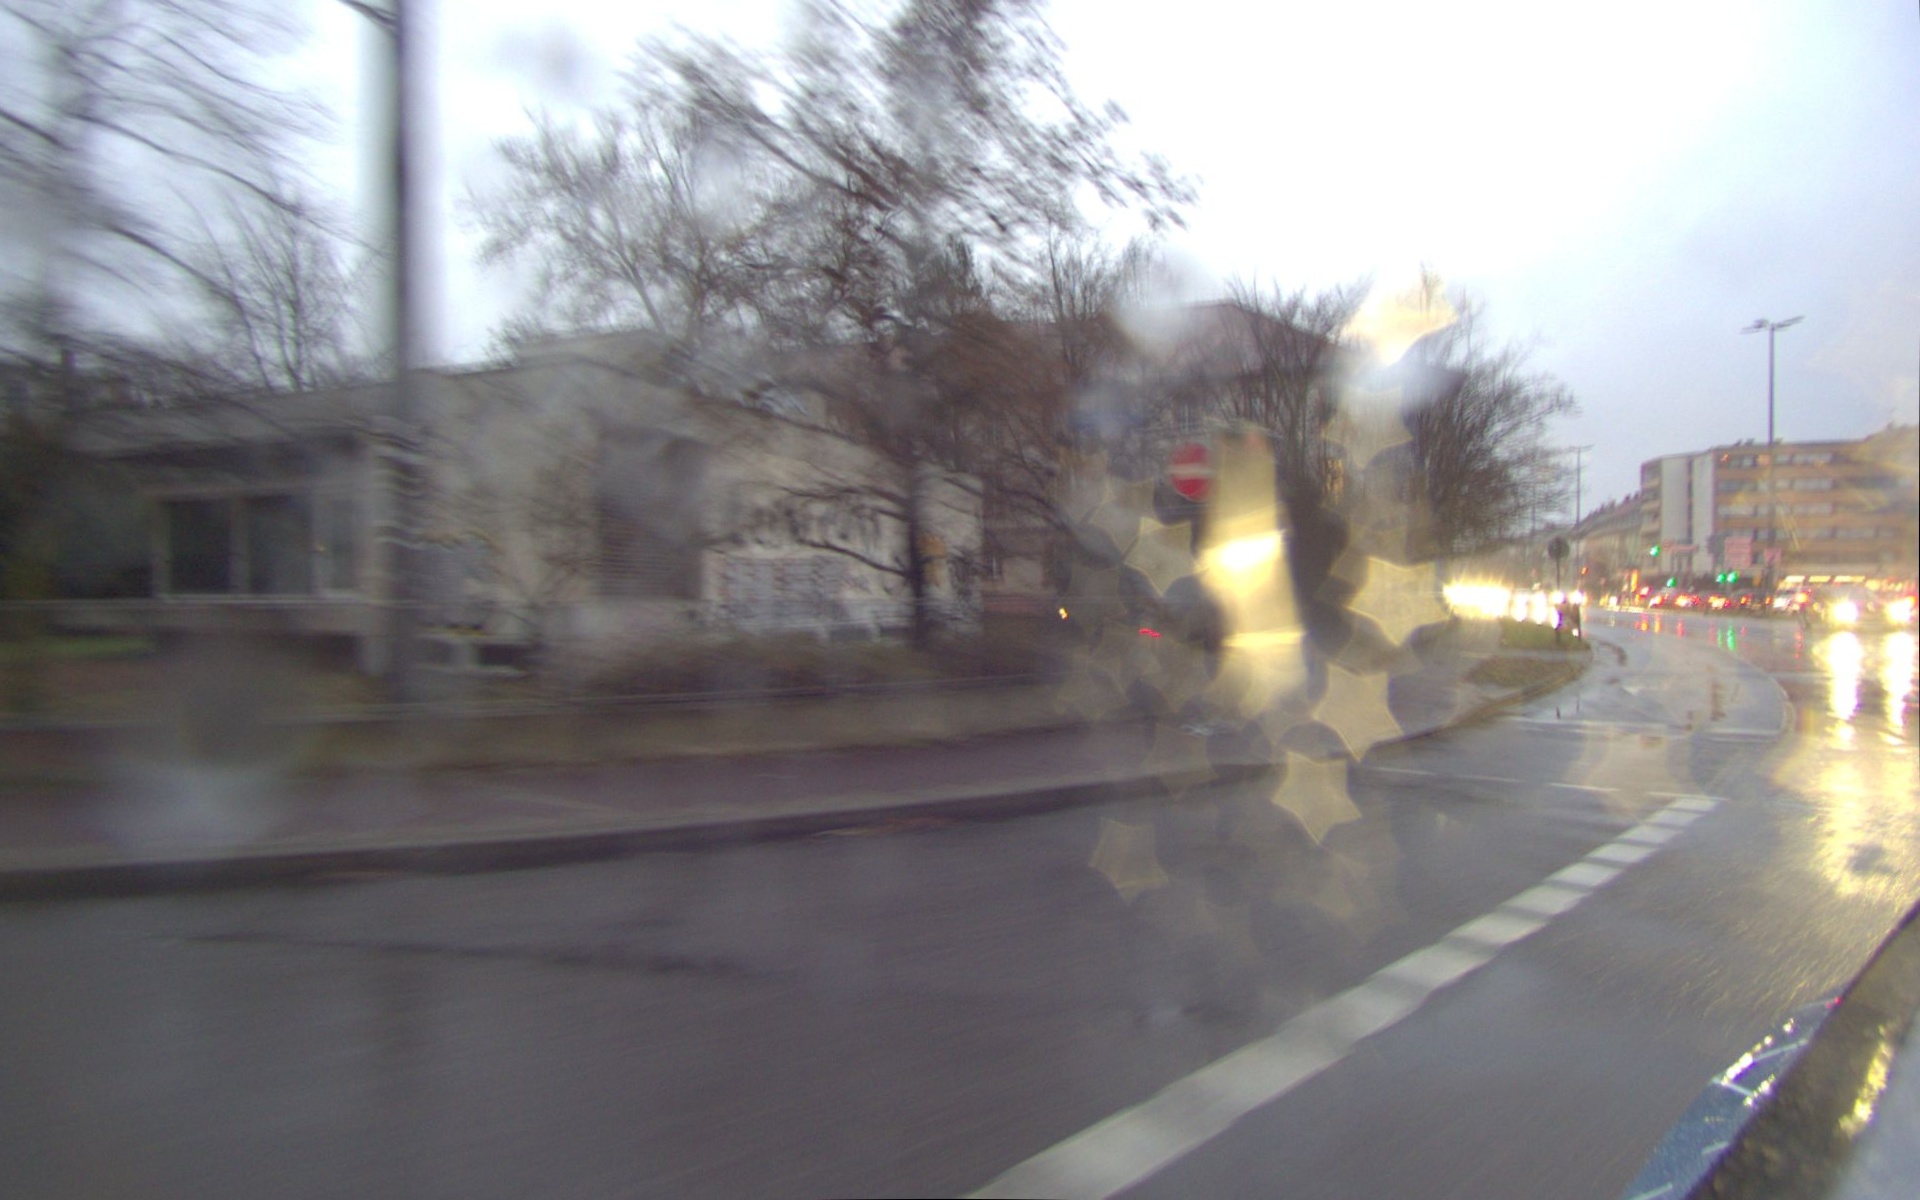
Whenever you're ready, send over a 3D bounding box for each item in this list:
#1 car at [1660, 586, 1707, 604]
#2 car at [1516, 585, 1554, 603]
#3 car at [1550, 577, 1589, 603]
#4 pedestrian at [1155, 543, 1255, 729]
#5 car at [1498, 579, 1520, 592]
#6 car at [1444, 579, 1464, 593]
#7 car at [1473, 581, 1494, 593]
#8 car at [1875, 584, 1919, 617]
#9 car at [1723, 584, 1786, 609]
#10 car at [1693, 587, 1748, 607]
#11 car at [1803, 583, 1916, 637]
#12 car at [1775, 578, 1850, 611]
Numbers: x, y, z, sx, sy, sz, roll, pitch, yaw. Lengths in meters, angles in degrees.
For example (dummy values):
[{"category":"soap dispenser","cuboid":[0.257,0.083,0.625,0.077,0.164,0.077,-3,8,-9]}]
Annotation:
[{"category":"car","cuboid":[58.102,-0.402,81.326,1.945,1.404,4.503,1,1,21]},{"category":"car","cuboid":[46.601,-0.520,82.116,1.945,1.404,4.503,1,1,21]},{"category":"car","cuboid":[50.482,-0.827,83.872,1.975,2.039,3.975,1,1,20]},{"category":"pedestrian","cuboid":[2.594,0.366,10.714,0.671,1.860,0.574,2,5,-41]},{"category":"car","cuboid":[70.627,-1.818,130.277,1.976,1.629,3.971,0,0,22]},{"category":"car","cuboid":[64.206,-1.824,131.547,1.976,1.717,3.971,0,0,22]},{"category":"car","cuboid":[68.046,-1.634,131.568,1.976,1.554,3.971,0,0,22]},{"category":"car","cuboid":[44.464,0.028,46.997,1.633,1.505,4.111,1,1,24]},{"category":"car","cuboid":[52.329,-0.238,66.747,1.945,1.533,4.503,1,1,21]},{"category":"car","cuboid":[54.557,-0.222,72.685,1.945,1.404,4.503,1,1,21]},{"category":"car","cuboid":[31.752,0.309,35.862,1.801,1.764,4.152,1,1,24]},{"category":"car","cuboid":[50.082,-0.343,59.572,1.945,1.805,4.502,1,1,21]}]
